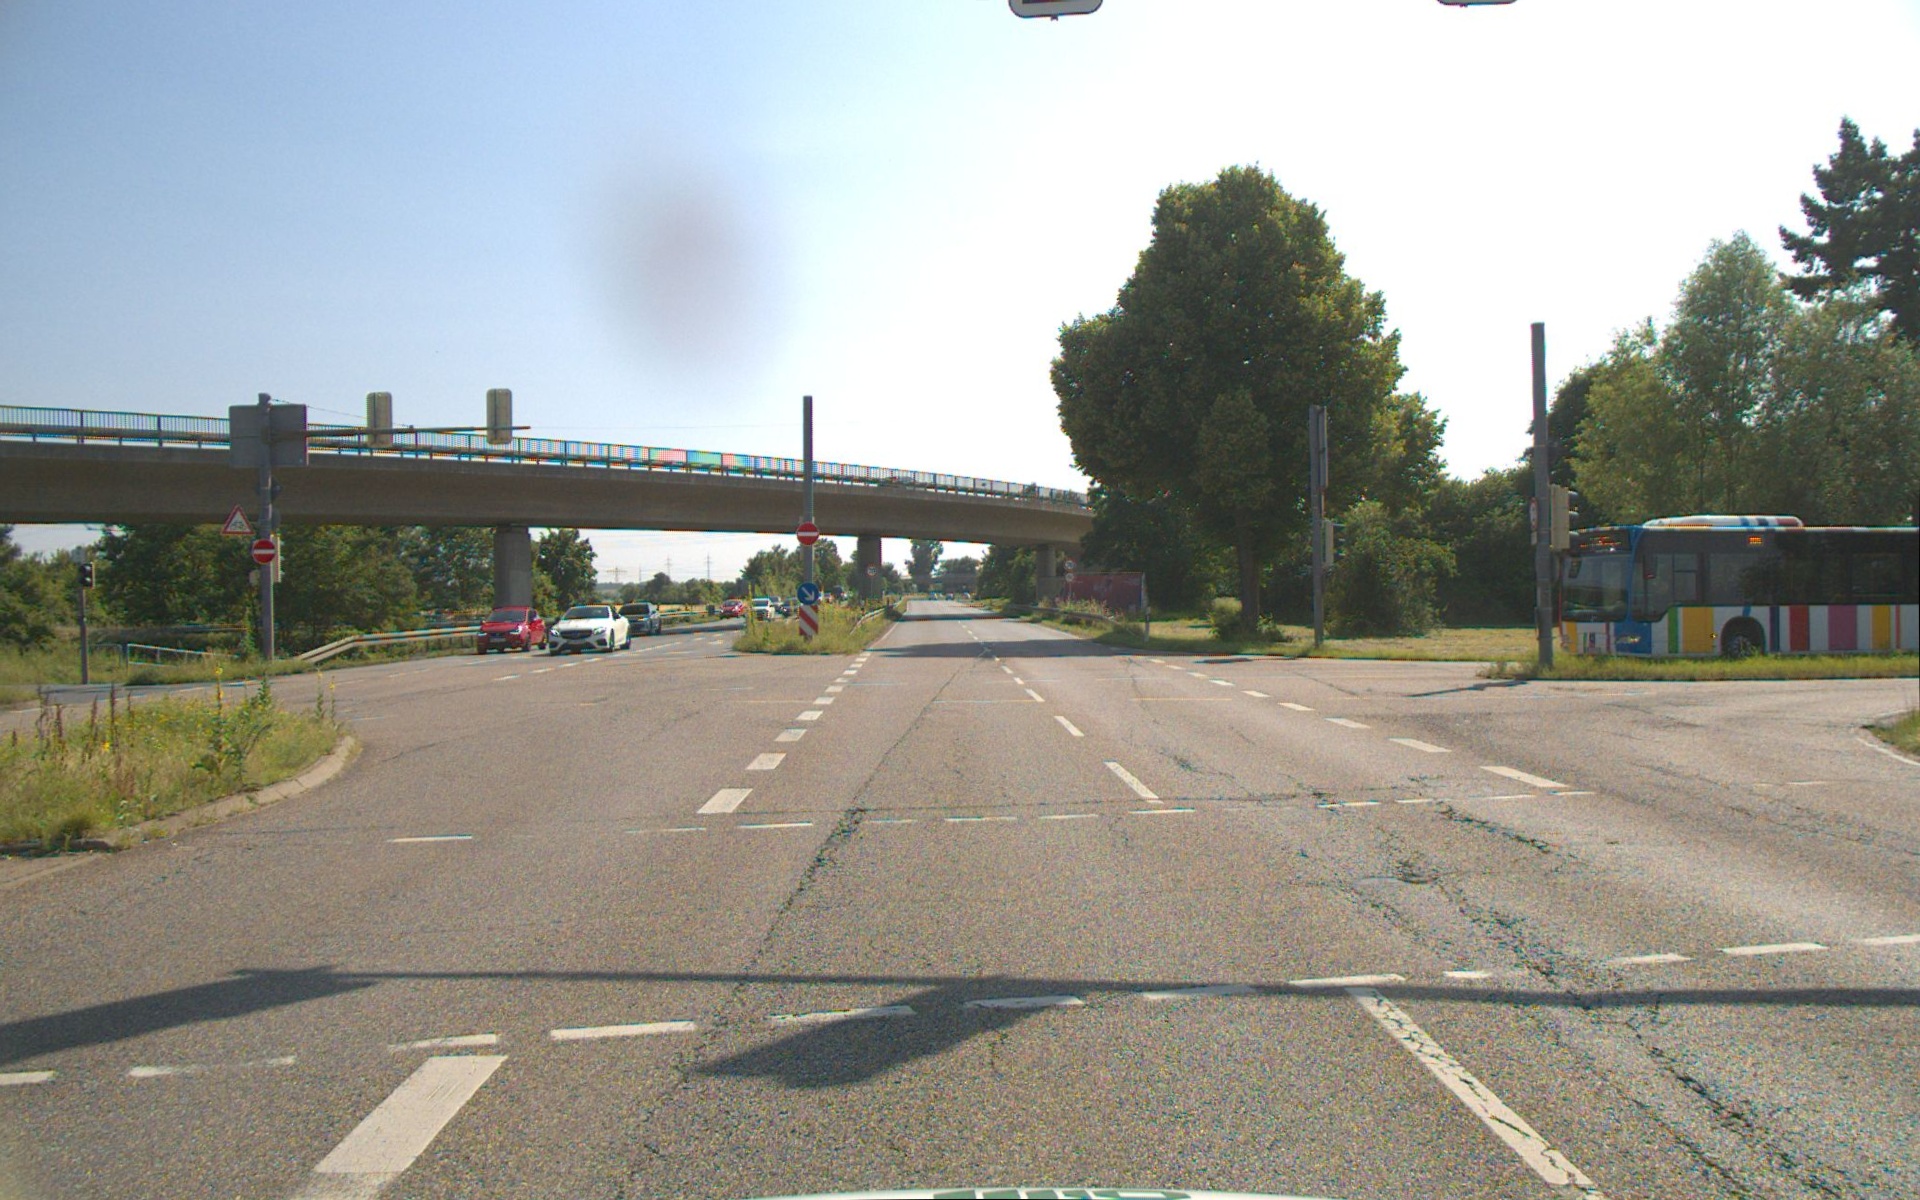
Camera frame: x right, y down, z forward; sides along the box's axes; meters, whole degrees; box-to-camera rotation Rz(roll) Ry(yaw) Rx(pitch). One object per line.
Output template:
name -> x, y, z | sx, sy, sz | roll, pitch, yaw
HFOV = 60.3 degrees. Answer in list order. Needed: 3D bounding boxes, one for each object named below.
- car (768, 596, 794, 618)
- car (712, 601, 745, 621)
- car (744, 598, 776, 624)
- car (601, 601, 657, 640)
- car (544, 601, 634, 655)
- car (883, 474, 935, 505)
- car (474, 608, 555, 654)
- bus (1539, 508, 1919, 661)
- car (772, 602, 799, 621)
car -> -17.409, 0.660, 161.026 | 1.952, 2.049, 4.001 | -2, 0, 2
car -> -19.828, 0.950, 141.580 | 1.951, 1.585, 4.002 | -2, 0, 5
car -> -12.575, 0.691, 104.062 | 1.525, 1.567, 3.999 | -2, 0, -1
car -> -14.865, 0.914, 74.469 | 1.754, 1.656, 3.998 | -2, 0, -2
car -> -11.252, 0.809, 50.390 | 1.819, 1.473, 4.239 | -3, 0, -2
car -> -2.884, -6.277, 94.266 | 1.506, 1.503, 3.388 | -3, -1, 26
car -> -14.798, 1.013, 55.090 | 1.607, 1.409, 4.239 | -2, 0, -2
bus -> 18.448, -0.421, 35.642 | 11.745, 2.927, 2.929 | -2, 0, -16
car -> -12.822, 0.831, 121.663 | 1.525, 1.281, 3.999 | -2, 0, -1
